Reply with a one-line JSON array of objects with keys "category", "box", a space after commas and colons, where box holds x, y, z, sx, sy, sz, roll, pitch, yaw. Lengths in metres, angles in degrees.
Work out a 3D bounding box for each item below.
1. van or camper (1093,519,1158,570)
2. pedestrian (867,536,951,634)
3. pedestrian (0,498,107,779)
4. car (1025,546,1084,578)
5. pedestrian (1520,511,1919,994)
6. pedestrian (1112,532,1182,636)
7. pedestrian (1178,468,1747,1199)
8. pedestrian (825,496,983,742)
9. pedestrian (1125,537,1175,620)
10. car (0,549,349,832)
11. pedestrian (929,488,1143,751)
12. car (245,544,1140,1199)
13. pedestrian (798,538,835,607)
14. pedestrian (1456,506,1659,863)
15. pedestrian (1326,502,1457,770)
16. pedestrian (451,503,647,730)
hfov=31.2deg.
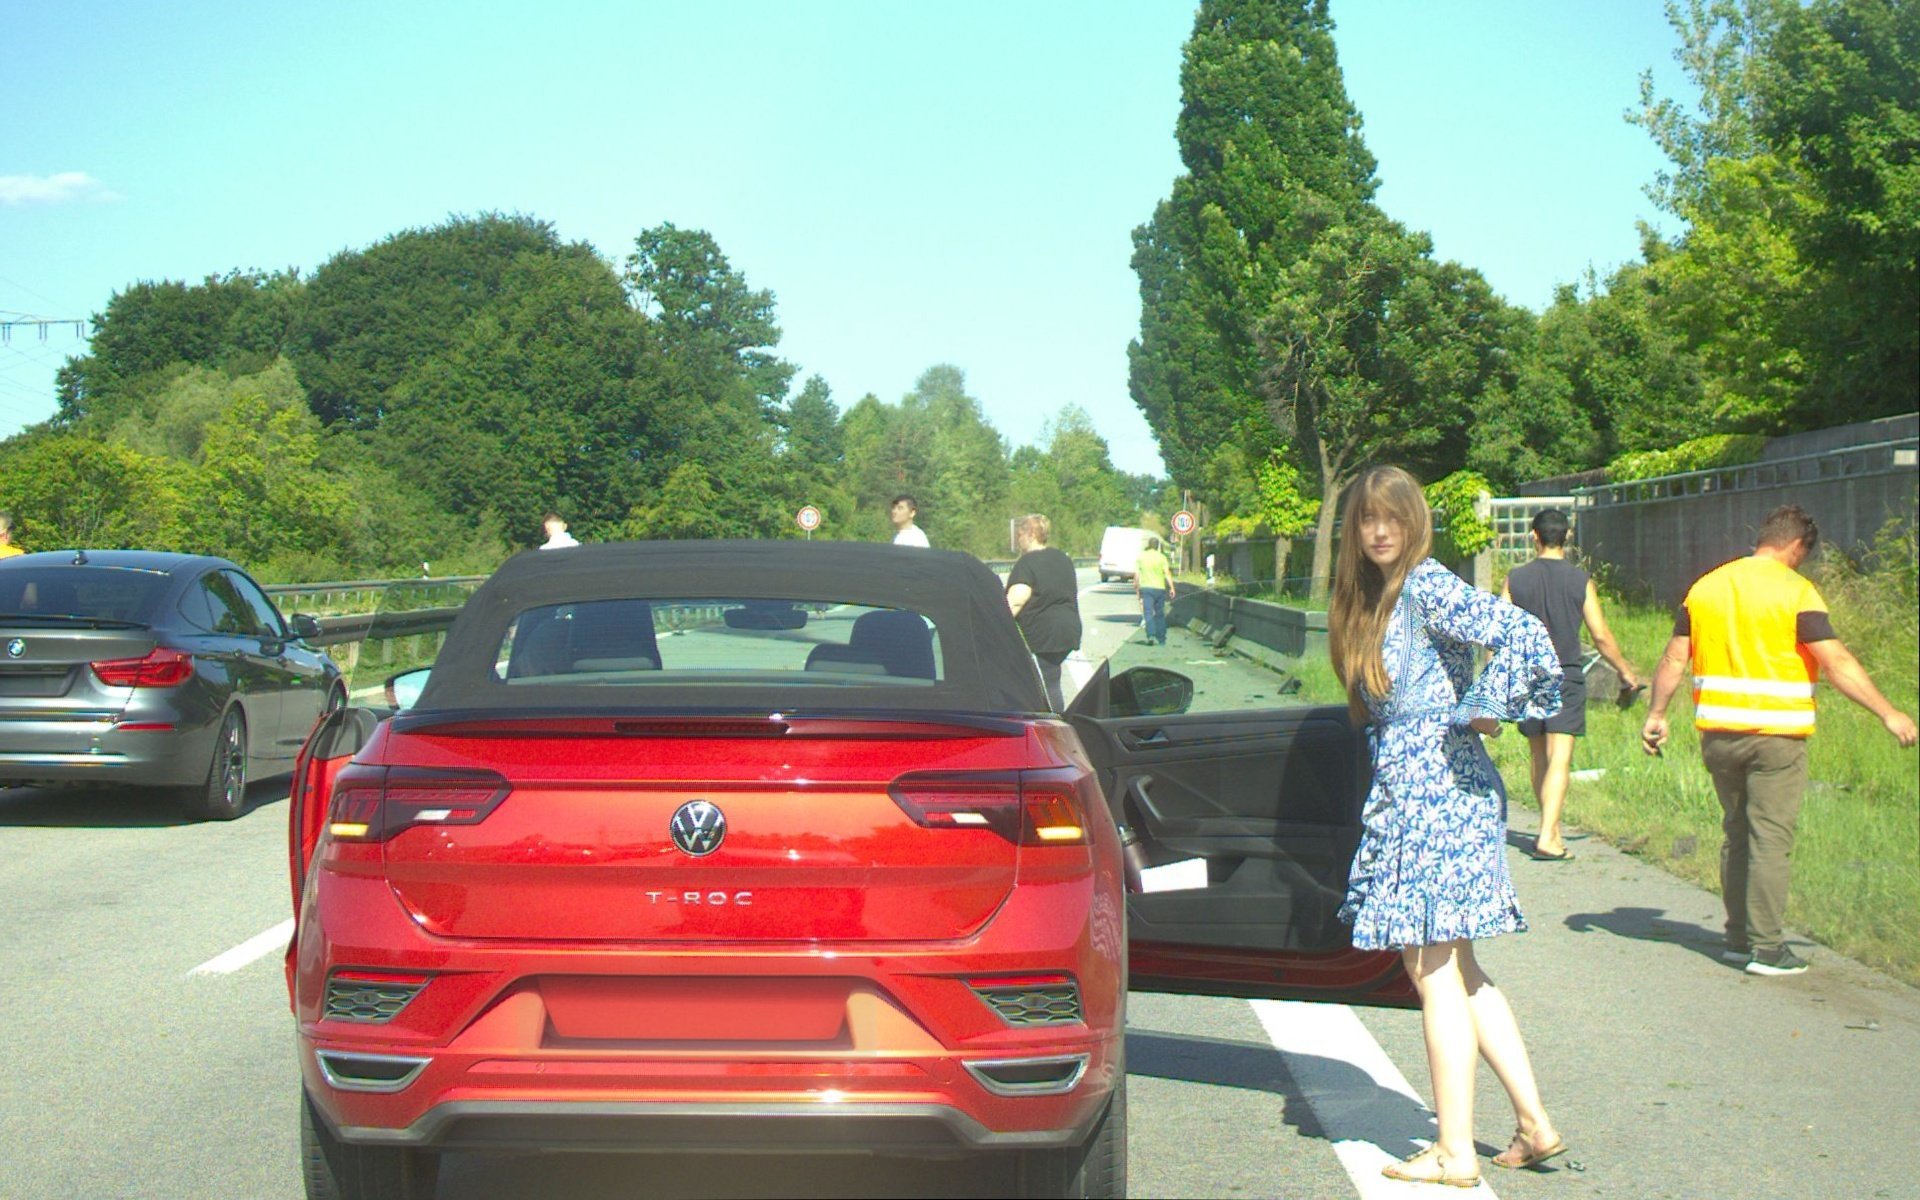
[{"category": "van or camper", "box": [7.745, -2.577, 160.879, 1.995, 2.308, 4.467, 1, 1, 17]}, {"category": "pedestrian", "box": [-0.887, -0.263, 59.442, 0.970, 1.683, 1.117, 1, 0, -36]}, {"category": "pedestrian", "box": [-6.182, 0.236, 22.106, 1.041, 1.757, 1.118, -1, 1, 3]}, {"category": "car", "box": [4.455, -1.808, 162.082, 1.734, 1.482, 4.207, 1, 1, 17]}, {"category": "pedestrian", "box": [2.833, 0.513, 12.449, 1.274, 1.648, 0.961, -1, 1, -17]}, {"category": "pedestrian", "box": [3.099, -0.264, 56.884, 1.056, 1.683, 1.017, 1, 0, 7]}, {"category": "pedestrian", "box": [1.142, 0.553, 8.035, 1.124, 1.689, 0.893, -1, 1, -4]}, {"category": "pedestrian", "box": [-0.459, 0.137, 27.533, 1.105, 1.906, 1.257, -1, 1, -7]}, {"category": "pedestrian", "box": [3.886, -0.438, 70.244, 0.996, 1.683, 1.010, 1, 0, 4]}, {"category": "car", "box": [-4.779, 0.435, 19.861, 1.694, 1.421, 4.334, 1, 1, 0]}, {"category": "pedestrian", "box": [0.562, 0.134, 25.511, 1.090, 1.876, 1.068, -3, 1, -39]}, {"category": "car", "box": [-0.516, 0.610, 8.810, 1.732, 1.482, 4.210, 1, 1, 0]}, {"category": "pedestrian", "box": [-3.523, -0.683, 84.497, 0.792, 1.683, 0.792, 1, 0, 5]}, {"category": "pedestrian", "box": [2.950, 0.404, 17.046, 0.895, 1.719, 0.754, 1, 0, 4]}, {"category": "pedestrian", "box": [2.910, 0.233, 23.147, 0.812, 1.753, 0.828, 1, 0, 10]}, {"category": "pedestrian", "box": [-3.310, 0.120, 27.708, 1.090, 1.782, 1.105, 1, 1, 40]}]
